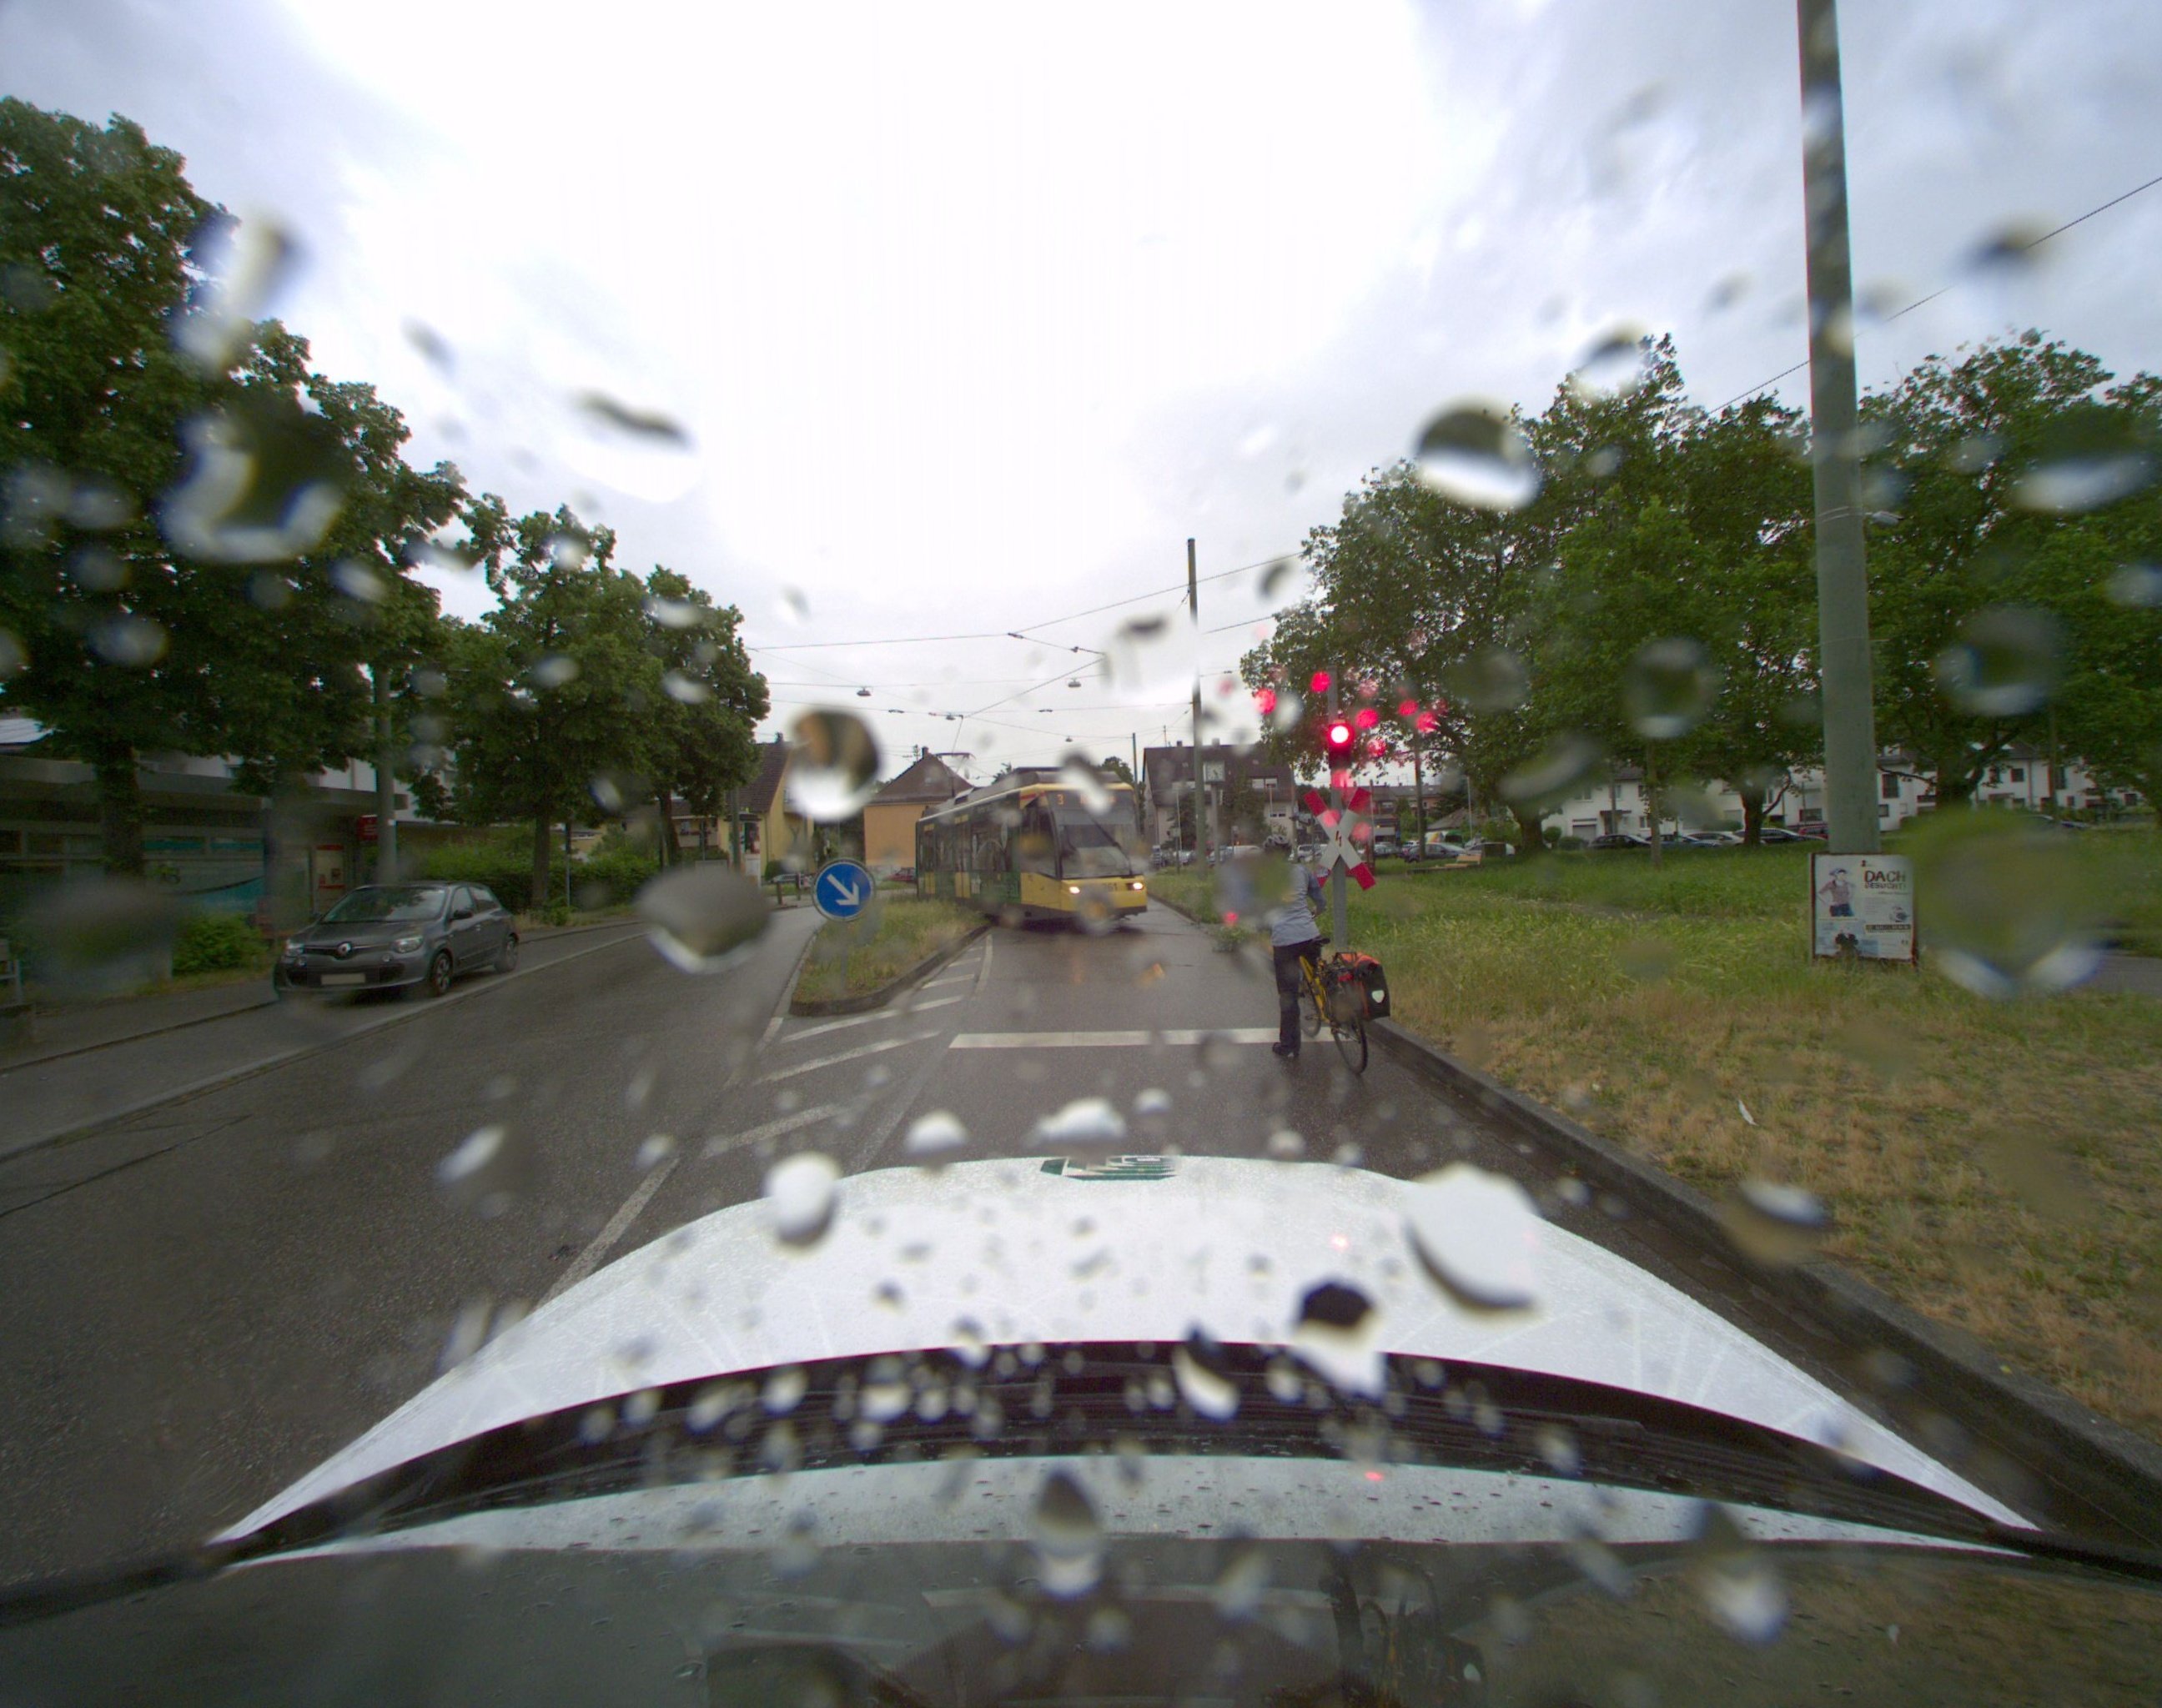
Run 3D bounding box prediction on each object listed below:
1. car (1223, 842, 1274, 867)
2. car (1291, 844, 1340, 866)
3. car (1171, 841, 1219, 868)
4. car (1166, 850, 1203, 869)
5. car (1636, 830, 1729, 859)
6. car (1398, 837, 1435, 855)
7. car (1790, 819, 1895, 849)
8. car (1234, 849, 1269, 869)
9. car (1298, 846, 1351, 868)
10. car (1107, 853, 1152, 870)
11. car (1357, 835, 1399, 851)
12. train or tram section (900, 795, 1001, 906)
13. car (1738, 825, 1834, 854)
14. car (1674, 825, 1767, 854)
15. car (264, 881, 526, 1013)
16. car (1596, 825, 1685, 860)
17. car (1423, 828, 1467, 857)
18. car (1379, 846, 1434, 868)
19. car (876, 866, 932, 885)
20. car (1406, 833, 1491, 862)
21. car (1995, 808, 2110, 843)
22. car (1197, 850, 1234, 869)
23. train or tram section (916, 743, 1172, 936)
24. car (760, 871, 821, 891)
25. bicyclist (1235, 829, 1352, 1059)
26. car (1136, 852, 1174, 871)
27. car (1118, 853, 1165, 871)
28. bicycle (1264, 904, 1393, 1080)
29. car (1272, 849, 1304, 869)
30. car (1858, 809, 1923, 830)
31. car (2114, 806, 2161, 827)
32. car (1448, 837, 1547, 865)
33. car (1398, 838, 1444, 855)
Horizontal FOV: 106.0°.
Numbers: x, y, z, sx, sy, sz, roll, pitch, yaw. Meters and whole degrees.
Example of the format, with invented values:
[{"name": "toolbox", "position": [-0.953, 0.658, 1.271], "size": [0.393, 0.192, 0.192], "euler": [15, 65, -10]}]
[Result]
[{"name": "car", "position": [15.634, 0.073, 76.042], "size": [4.381, 2.325, 2.000], "euler": [0, -1, -1]}, {"name": "car", "position": [21.816, 0.084, 75.930], "size": [3.974, 1.951, 1.999], "euler": [0, -1, -1]}, {"name": "car", "position": [11.186, 0.022, 79.720], "size": [4.362, 2.566, 2.008], "euler": [-1, -1, 16]}, {"name": "car", "position": [9.101, 0.507, 71.479], "size": [1.975, 1.640, 4.024], "euler": [-1, -1, 27]}, {"name": "car", "position": [33.208, -0.476, 44.992], "size": [1.821, 1.495, 3.867], "euler": [0, -1, -44]}, {"name": "car", "position": [39.129, -0.952, 95.039], "size": [1.998, 2.014, 3.978], "euler": [0, -1, -16]}, {"name": "car", "position": [42.632, -1.089, 45.684], "size": [1.814, 1.495, 3.881], "euler": [0, -1, -27]}, {"name": "car", "position": [14.748, 0.456, 70.394], "size": [1.975, 1.640, 4.024], "euler": [-1, -1, 27]}, {"name": "car", "position": [19.319, 0.255, 64.811], "size": [3.670, 1.701, 1.891], "euler": [0, -1, 2]}, {"name": "car", "position": [4.749, 0.758, 79.992], "size": [4.015, 1.643, 1.979], "euler": [0, -1, -34]}, {"name": "car", "position": [33.149, -1.232, 91.038], "size": [3.968, 1.791, 2.003], "euler": [0, -1, 4]}, {"name": "train or tram section", "position": [-4.795, -0.127, 29.130], "size": [2.768, 3.553, 4.958], "euler": [-2, 0, -18]}, {"name": "car", "position": [39.269, -0.781, 45.411], "size": [1.821, 1.495, 3.867], "euler": [0, -1, -44]}, {"name": "car", "position": [35.711, -0.755, 45.523], "size": [1.821, 1.495, 3.867], "euler": [0, -1, -44]}, {"name": "car", "position": [-9.682, 1.197, 11.881], "size": [1.621, 1.496, 3.645], "euler": [0, -1, -18]}, {"name": "car", "position": [30.546, -0.612, 44.535], "size": [1.821, 1.798, 3.721], "euler": [0, -1, -44]}, {"name": "car", "position": [32.580, -0.970, 72.996], "size": [1.987, 2.443, 4.354], "euler": [0, -1, 1]}, {"name": "car", "position": [25.900, 0.209, 64.956], "size": [3.670, 1.701, 1.891], "euler": [0, -1, 2]}, {"name": "car", "position": [-13.656, 1.659, 63.075], "size": [3.979, 1.456, 1.831], "euler": [0, -1, -5]}, {"name": "car", "position": [20.197, -0.323, 44.837], "size": [1.821, 1.495, 3.867], "euler": [0, -1, -44]}, {"name": "car", "position": [54.639, -1.578, 45.861], "size": [1.815, 1.765, 3.879], "euler": [0, -1, -29]}, {"name": "car", "position": [11.633, 0.477, 70.249], "size": [1.975, 1.640, 4.024], "euler": [-1, -1, 27]}, {"name": "train or tram section", "position": [-1.767, -0.232, 21.151], "size": [2.771, 3.553, 12.114], "euler": [-2, 0, -22]}, {"name": "car", "position": [-22.102, 2.039, 62.030], "size": [3.979, 1.456, 1.831], "euler": [0, -1, -5]}, {"name": "bicyclist", "position": [1.592, 0.644, 6.222], "size": [0.665, 1.626, 0.853], "euler": [0, -1, 1]}, {"name": "car", "position": [6.656, 0.648, 72.783], "size": [1.975, 1.640, 4.024], "euler": [-1, -1, 27]}, {"name": "car", "position": [5.719, 0.720, 76.898], "size": [4.015, 1.675, 1.979], "euler": [0, -1, -34]}, {"name": "bicycle", "position": [1.798, 0.947, 6.141], "size": [0.444, 1.004, 1.728], "euler": [-2, 0, 1]}, {"name": "car", "position": [17.982, 0.436, 70.706], "size": [1.823, 1.640, 4.024], "euler": [-1, -1, 27]}, {"name": "car", "position": [70.003, -2.998, 70.454], "size": [3.670, 1.660, 1.891], "euler": [0, -1, 2]}, {"name": "car", "position": [89.732, -3.162, 68.332], "size": [3.670, 1.660, 1.891], "euler": [0, -1, 2]}, {"name": "car", "position": [20.509, -0.130, 40.250], "size": [3.964, 1.285, 1.851], "euler": [-1, -1, 9]}, {"name": "car", "position": [35.430, -0.778, 84.948], "size": [3.971, 1.640, 1.847], "euler": [0, -1, 2]}]
